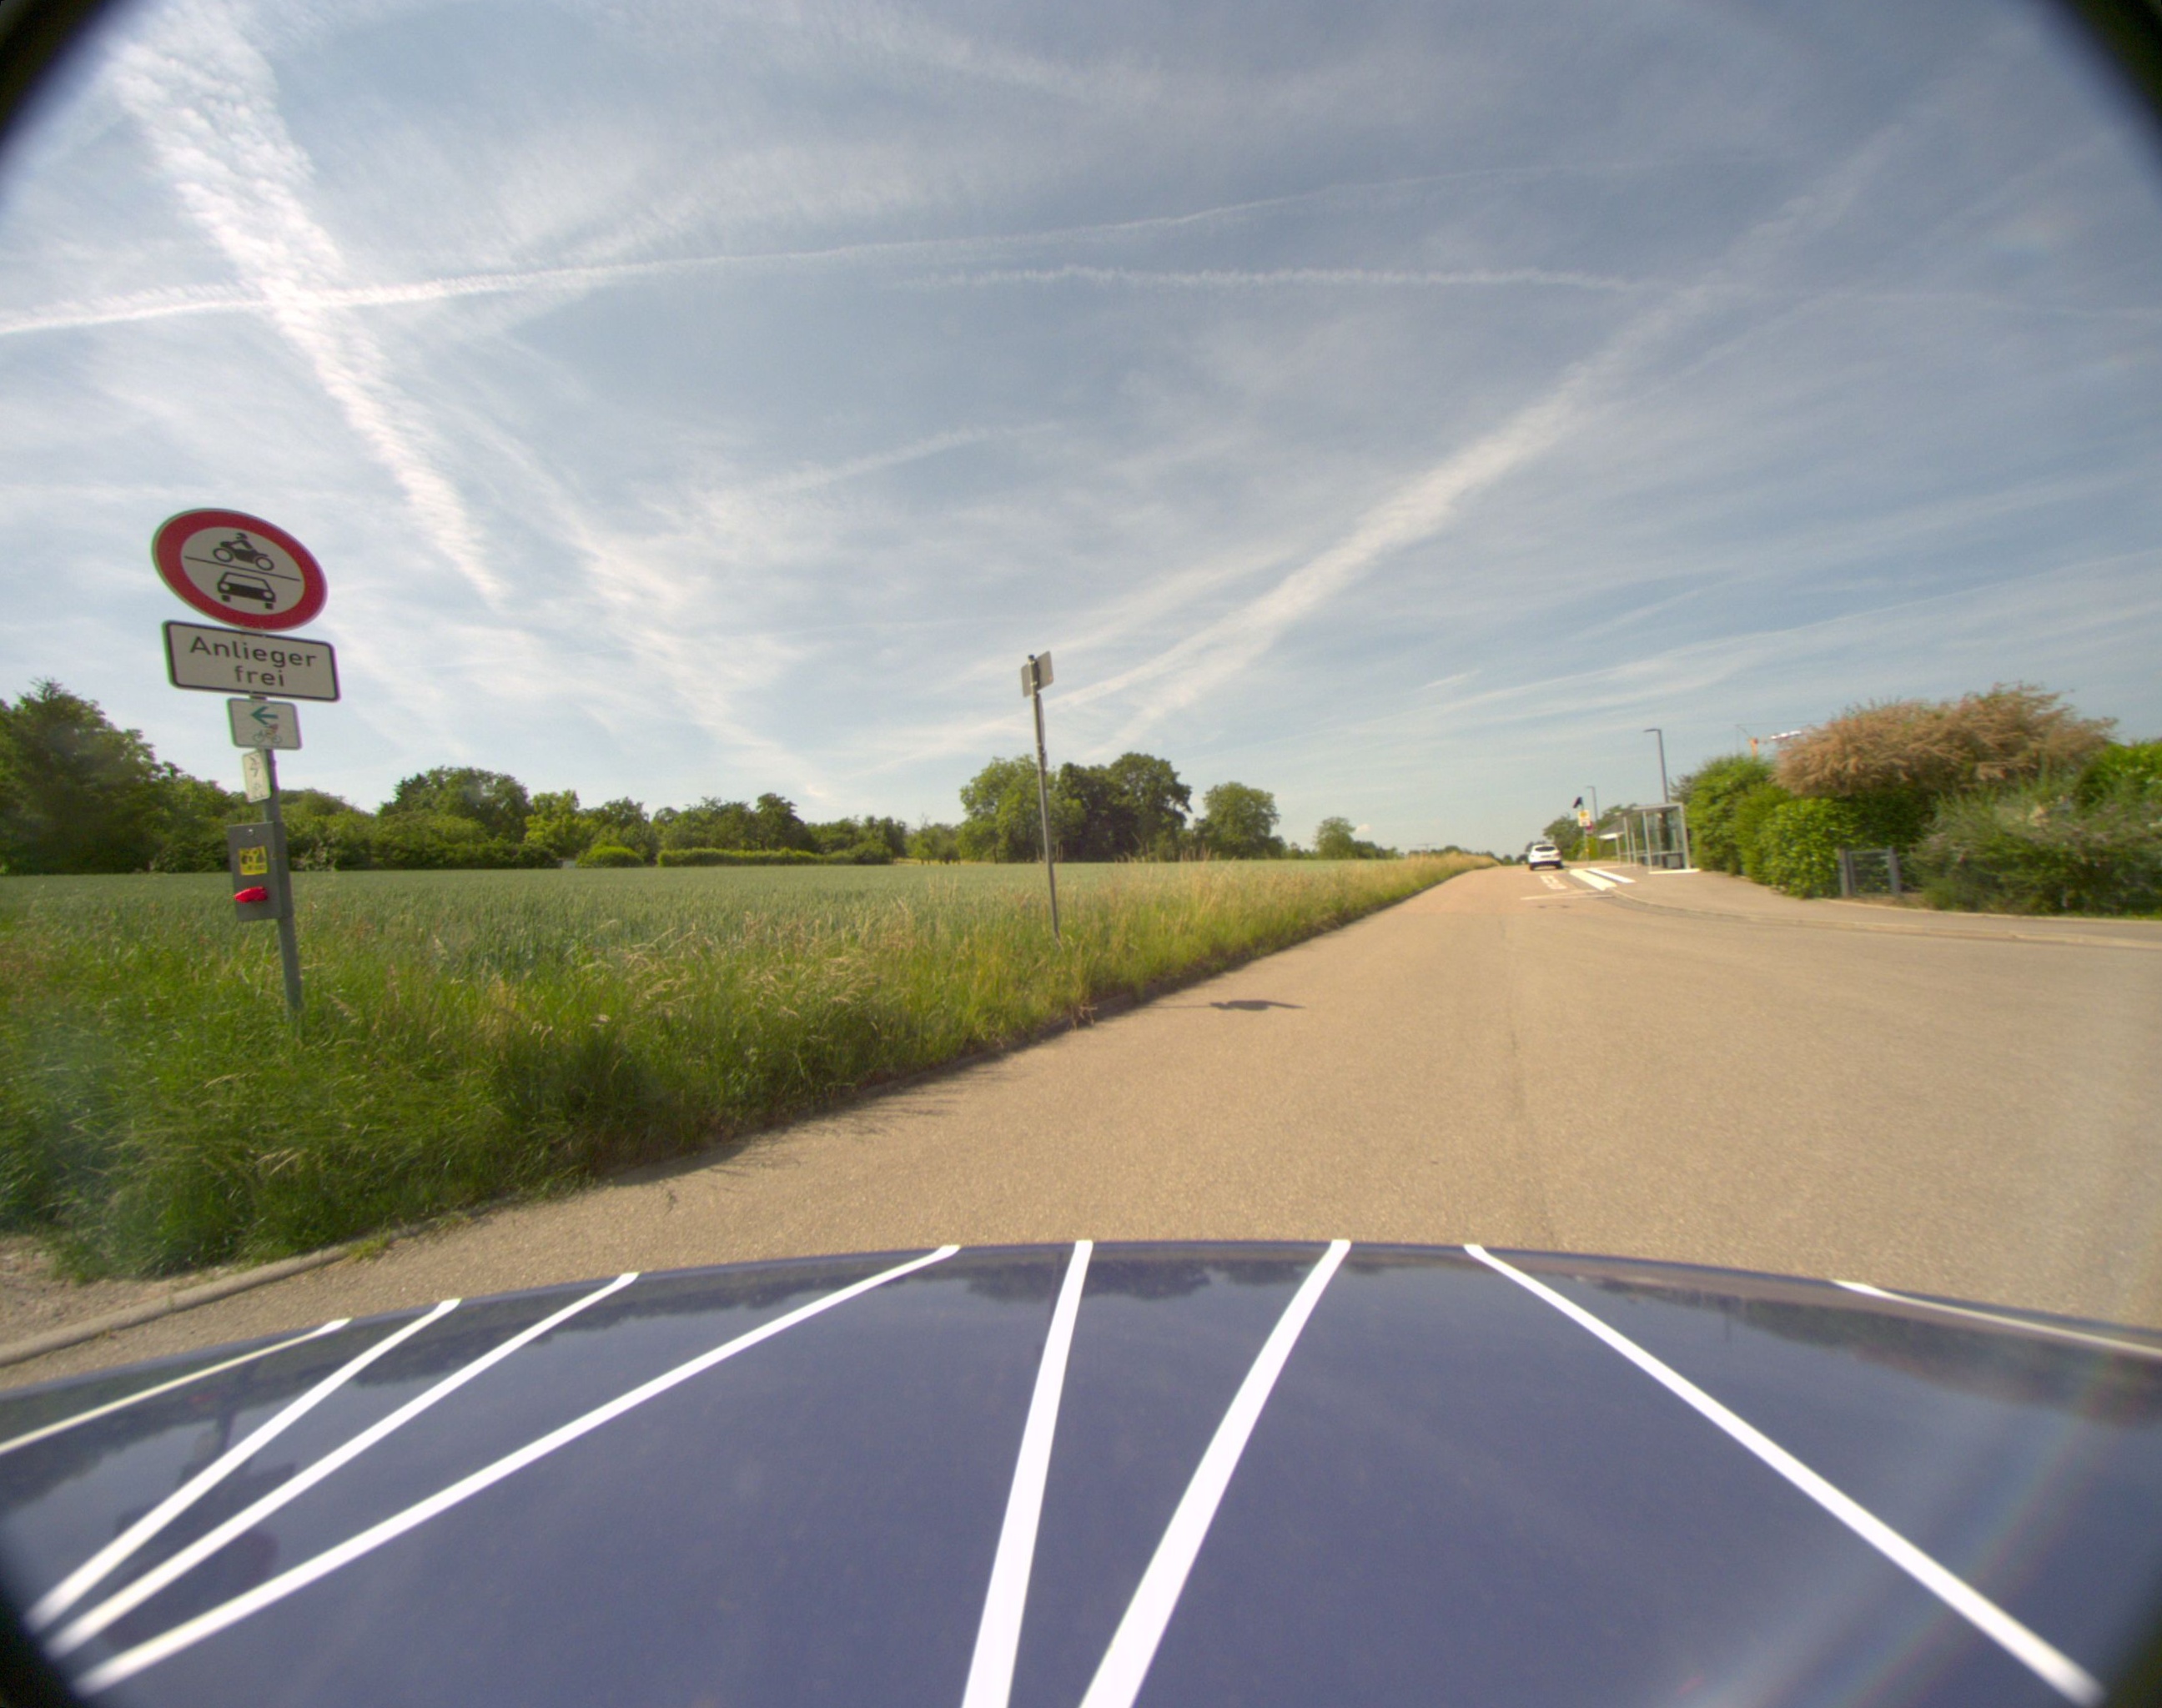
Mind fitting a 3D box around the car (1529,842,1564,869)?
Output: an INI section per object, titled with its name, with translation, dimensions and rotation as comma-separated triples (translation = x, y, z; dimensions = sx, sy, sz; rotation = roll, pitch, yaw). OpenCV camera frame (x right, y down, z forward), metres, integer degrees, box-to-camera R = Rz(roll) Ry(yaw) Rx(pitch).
[car]
translation = 30.726, 0.065, 50.240
dimensions = 1.736, 1.623, 4.360
rotation = -4, -2, 29
